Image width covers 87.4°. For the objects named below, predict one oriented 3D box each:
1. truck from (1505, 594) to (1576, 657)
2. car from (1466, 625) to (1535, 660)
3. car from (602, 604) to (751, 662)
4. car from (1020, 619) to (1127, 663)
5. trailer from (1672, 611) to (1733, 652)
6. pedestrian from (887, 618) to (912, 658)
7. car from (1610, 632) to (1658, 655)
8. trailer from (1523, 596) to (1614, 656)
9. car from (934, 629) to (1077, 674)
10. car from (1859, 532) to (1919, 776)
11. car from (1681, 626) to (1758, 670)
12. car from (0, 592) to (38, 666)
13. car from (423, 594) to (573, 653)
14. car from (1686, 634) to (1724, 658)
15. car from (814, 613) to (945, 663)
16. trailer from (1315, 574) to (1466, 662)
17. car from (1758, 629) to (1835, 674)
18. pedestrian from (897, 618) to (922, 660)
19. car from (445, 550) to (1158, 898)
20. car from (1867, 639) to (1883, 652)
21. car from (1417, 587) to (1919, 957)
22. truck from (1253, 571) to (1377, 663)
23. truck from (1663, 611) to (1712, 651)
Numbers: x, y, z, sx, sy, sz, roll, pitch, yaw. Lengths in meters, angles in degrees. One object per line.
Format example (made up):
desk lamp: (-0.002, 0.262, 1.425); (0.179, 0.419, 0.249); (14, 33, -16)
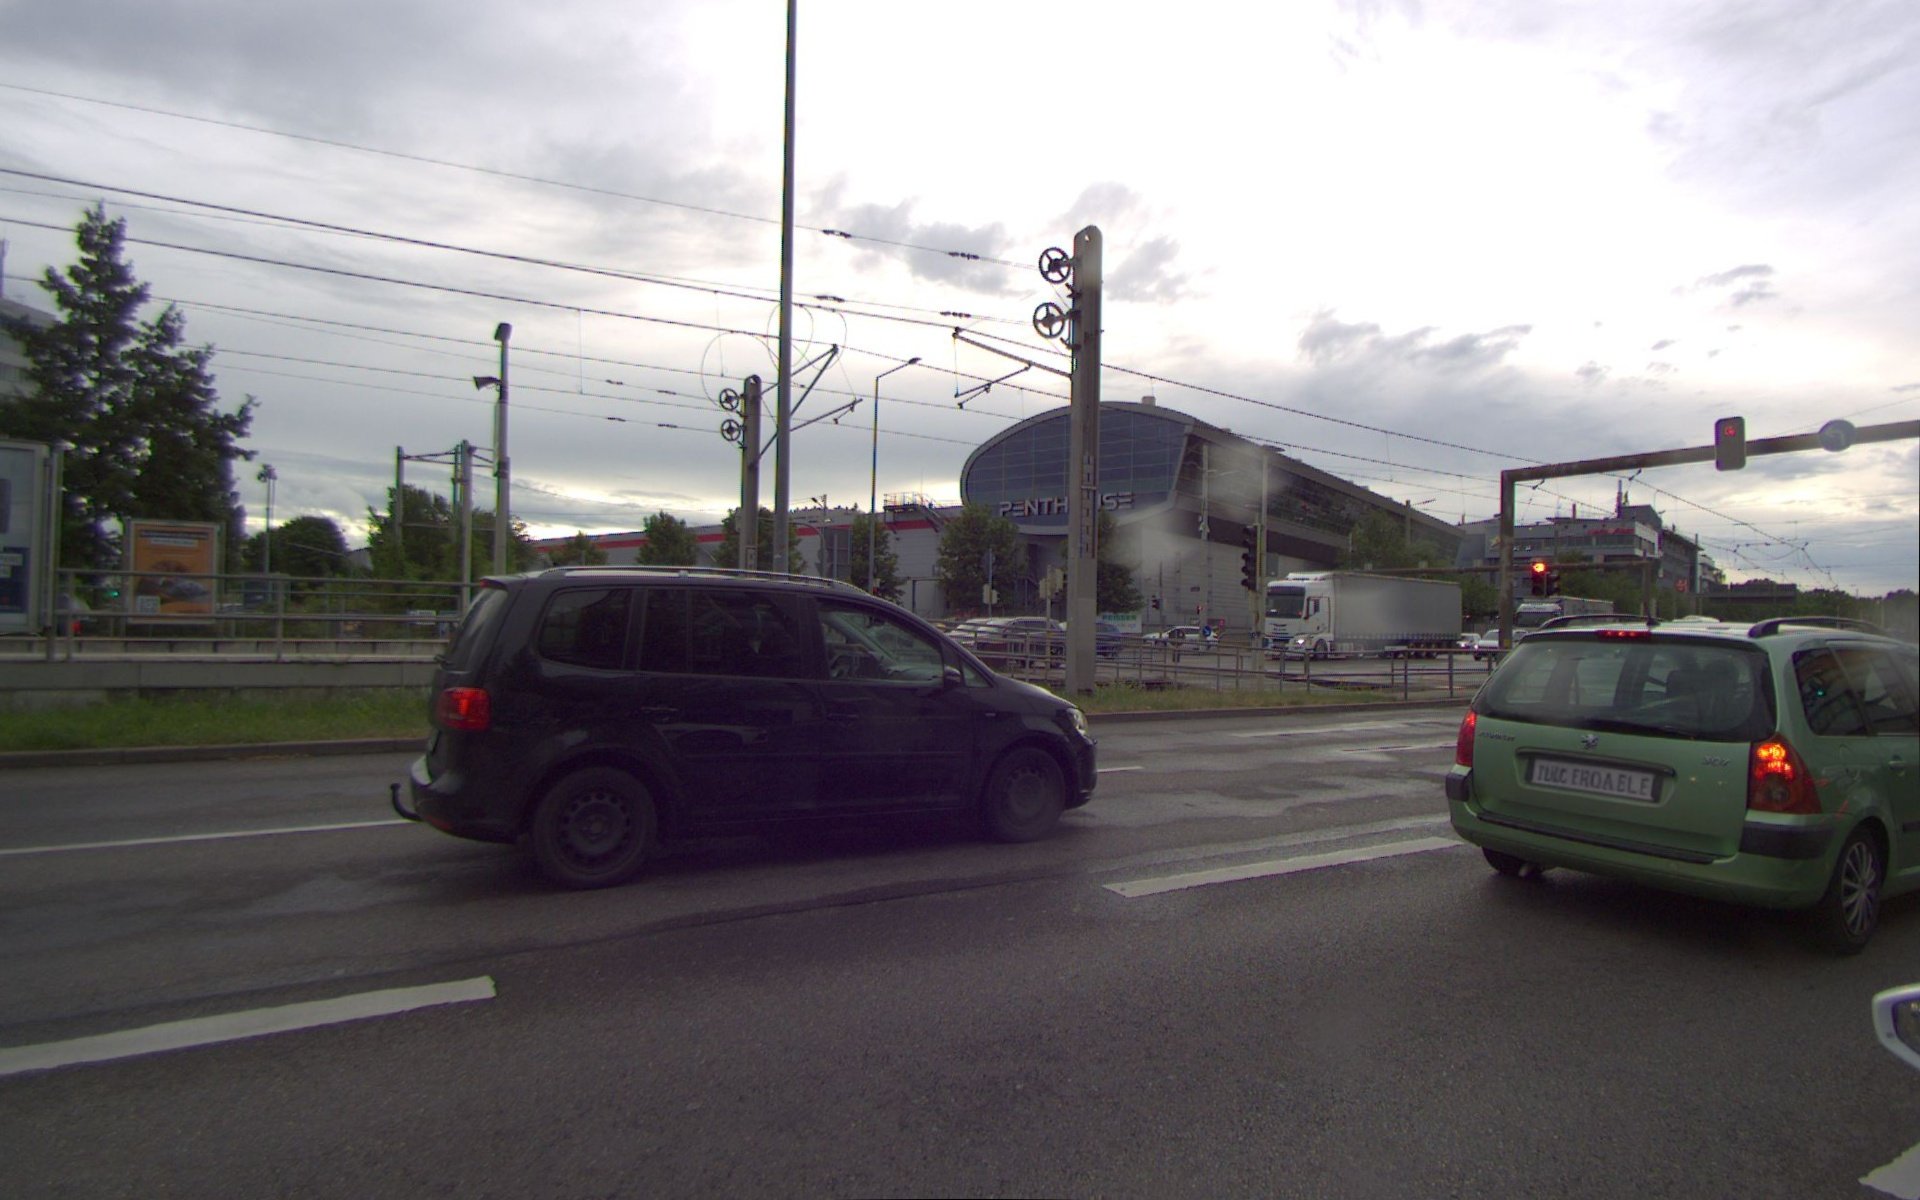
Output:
truck: (40.850, 1.843, 70.608); (6.144, 4.184, 2.641); (3, -2, -43)
car: (28.617, 2.266, 53.116); (4.065, 1.674, 1.870); (3, 0, -42)
car: (-8.509, 1.005, 30.252); (3.956, 1.522, 1.777); (3, 0, -32)
car: (4.866, 1.765, 43.035); (4.277, 1.650, 1.980); (3, 0, -35)
trailer: (76.243, 3.300, 103.018); (11.144, 3.905, 2.701); (3, -3, -41)
pedestrian: (-2.589, 1.621, 43.028); (0.731, 1.685, 0.721); (3, 0, -33)
car: (50.231, 3.238, 74.823); (4.533, 1.576, 1.885); (3, 0, -43)
trailer: (45.800, 2.082, 75.336); (12.659, 4.178, 2.624); (3, -3, -44)
car: (1.518, 1.693, 33.061); (4.366, 1.281, 1.897); (3, 0, -32)
car: (11.577, 0.643, 10.422); (4.860, 2.324, 2.427); (3, 0, -37)
car: (38.807, 2.432, 51.322); (4.301, 2.040, 1.762); (2, 1, -34)
car: (-22.866, 0.526, 21.075); (4.874, 1.517, 1.669); (3, 0, -30)
car: (-14.292, 0.754, 31.152); (4.038, 1.648, 1.563); (3, 0, -32)
car: (68.340, 4.223, 92.161); (4.875, 1.862, 1.974); (0, 3, -44)
car: (-2.705, 1.306, 34.235); (4.111, 1.481, 1.727); (3, 0, -35)
trailer: (22.654, 0.989, 52.396); (11.357, 4.161, 2.769); (2, -2, -42)
car: (41.757, 2.546, 50.116); (4.302, 2.040, 1.762); (2, 1, -34)
pedestrian: (-2.126, 1.622, 42.150); (0.731, 1.728, 0.721); (3, 0, -33)
car: (-0.925, 0.626, 6.426); (4.142, 1.613, 1.719); (2, 0, -29)
car: (155.385, 7.783, 170.517); (1.754, 2.040, 4.320); (3, 0, 45)
car: (4.855, 0.790, 5.947); (4.352, 1.488, 1.686); (3, 0, -30)
truck: (16.767, 0.821, 47.293); (5.934, 4.049, 2.810); (2, -1, -39)
truck: (71.730, 3.102, 99.031); (5.370, 3.855, 2.722); (3, -3, -41)
